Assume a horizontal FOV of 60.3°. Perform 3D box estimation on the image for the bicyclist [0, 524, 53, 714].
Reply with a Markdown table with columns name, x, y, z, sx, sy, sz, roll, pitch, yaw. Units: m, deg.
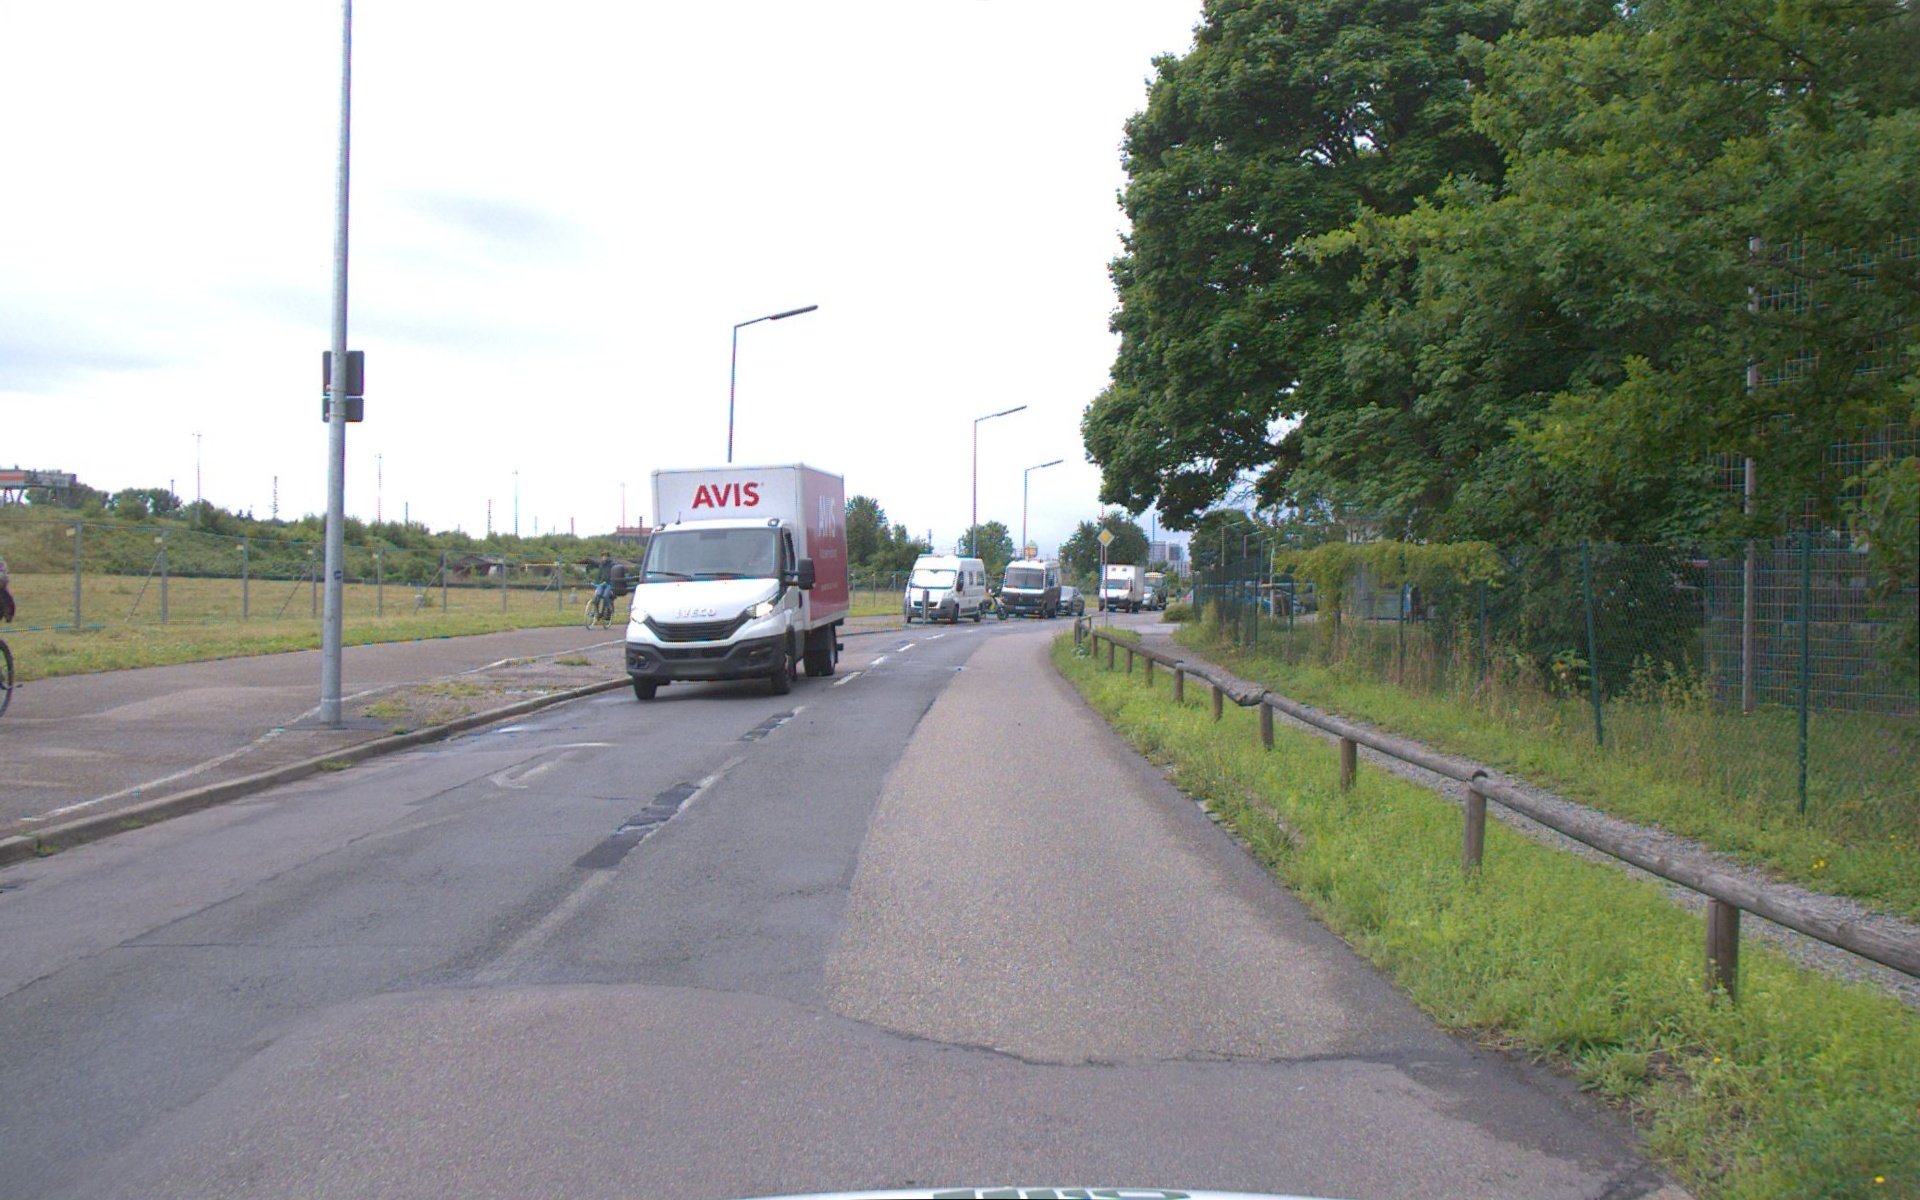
| name | x | y | z | sx | sy | sz | roll | pitch | yaw |
| --- | --- | --- | --- | --- | --- | --- | --- | --- | --- |
| bicyclist | -8.263 | 0.143 | 13.819 | 0.766 | 1.553 | 1.094 | 1 | 2 | -1 |

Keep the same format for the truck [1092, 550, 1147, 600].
| name | x | y | z | sx | sy | sz | roll | pitch | yaw |
| --- | --- | --- | --- | --- | --- | --- | --- | --- | --- |
| truck | 10.344 | -1.692 | 106.712 | 2.409 | 3.113 | 8.170 | 1 | 2 | 14 |

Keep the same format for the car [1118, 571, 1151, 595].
| name | x | y | z | sx | sy | sz | roll | pitch | yaw |
| --- | --- | --- | --- | --- | --- | --- | --- | --- | --- |
| car | 12.211 | -1.208 | 115.724 | 1.717 | 1.551 | 4.004 | 1 | 2 | 14 |

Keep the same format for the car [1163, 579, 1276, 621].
| name | x | y | z | sx | sy | sz | roll | pitch | yaw |
| --- | --- | --- | --- | --- | --- | --- | --- | --- | --- |
| car | 11.407 | -0.002 | 72.636 | 4.757 | 1.691 | 1.844 | 1 | 2 | 14 |

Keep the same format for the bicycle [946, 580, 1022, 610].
| name | x | y | z | sx | sy | sz | roll | pitch | yaw |
| --- | --- | --- | --- | --- | --- | --- | --- | --- | --- |
| bicycle | 1.045 | -0.238 | 71.740 | 3.054 | 1.220 | 1.366 | 1 | 2 | 14 |

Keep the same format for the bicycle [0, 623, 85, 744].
| name | x | y | z | sx | sy | sz | roll | pitch | yaw |
| --- | --- | --- | --- | --- | --- | --- | --- | --- | --- |
| bicycle | -8.278 | 0.711 | 13.790 | 0.787 | 0.923 | 2.232 | 1 | 2 | -1 |

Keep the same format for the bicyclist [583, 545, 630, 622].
| name | x | y | z | sx | sy | sz | roll | pitch | yaw |
| --- | --- | --- | --- | --- | --- | --- | --- | --- | --- |
| bicyclist | -8.741 | -0.430 | 40.916 | 0.810 | 1.853 | 1.331 | 1 | 2 | 3 |

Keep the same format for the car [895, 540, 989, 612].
| name | x | y | z | sx | sy | sz | roll | pitch | yaw |
| --- | --- | --- | --- | --- | --- | --- | --- | --- | --- |
| car | -0.599 | -0.981 | 63.579 | 2.240 | 2.600 | 6.417 | 1 | 2 | 12 |

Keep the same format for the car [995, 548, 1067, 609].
| name | x | y | z | sx | sy | sz | roll | pitch | yaw |
| --- | --- | --- | --- | --- | --- | --- | --- | --- | --- |
| car | 3.477 | -1.098 | 79.878 | 2.251 | 2.781 | 6.097 | 1 | 2 | 14 |

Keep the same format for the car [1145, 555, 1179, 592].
| name | x | y | z | sx | sy | sz | roll | pitch | yaw |
| --- | --- | --- | --- | --- | --- | --- | --- | --- | --- |
| car | 15.103 | -2.007 | 123.510 | 1.962 | 2.619 | 4.790 | 1 | 2 | 14 |

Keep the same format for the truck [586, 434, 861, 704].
| name | x | y | z | sx | sy | sz | roll | pitch | yaw |
| --- | --- | --- | --- | --- | --- | --- | --- | --- | --- |
| truck | -3.017 | -0.463 | 23.271 | 2.292 | 3.115 | 7.501 | -2 | 1 | 3 |

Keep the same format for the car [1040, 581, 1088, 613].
| name | x | y | z | sx | sy | sz | roll | pitch | yaw |
| --- | --- | --- | --- | --- | --- | --- | --- | --- | --- |
| car | 5.490 | -0.164 | 86.699 | 1.742 | 1.531 | 4.003 | 1 | 2 | 15 |

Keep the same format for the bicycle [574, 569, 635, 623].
| name | x | y | z | sx | sy | sz | roll | pitch | yaw |
| --- | --- | --- | --- | --- | --- | --- | --- | --- | --- |
| bicycle | -8.759 | -0.113 | 40.832 | 0.802 | 1.225 | 2.559 | 1 | 2 | 4 |

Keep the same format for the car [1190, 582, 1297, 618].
| name | x | y | z | sx | sy | sz | roll | pitch | yaw |
| --- | --- | --- | --- | --- | --- | --- | --- | --- | --- |
| car | 13.238 | -0.008 | 77.128 | 4.757 | 1.526 | 1.844 | 1 | 2 | 14 |

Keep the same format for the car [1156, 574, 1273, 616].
| name | x | y | z | sx | sy | sz | roll | pitch | yaw |
| --- | --- | --- | --- | --- | --- | --- | --- | --- | --- |
| car | 10.811 | -0.243 | 70.142 | 4.757 | 1.644 | 1.844 | 1 | 2 | 14 |
